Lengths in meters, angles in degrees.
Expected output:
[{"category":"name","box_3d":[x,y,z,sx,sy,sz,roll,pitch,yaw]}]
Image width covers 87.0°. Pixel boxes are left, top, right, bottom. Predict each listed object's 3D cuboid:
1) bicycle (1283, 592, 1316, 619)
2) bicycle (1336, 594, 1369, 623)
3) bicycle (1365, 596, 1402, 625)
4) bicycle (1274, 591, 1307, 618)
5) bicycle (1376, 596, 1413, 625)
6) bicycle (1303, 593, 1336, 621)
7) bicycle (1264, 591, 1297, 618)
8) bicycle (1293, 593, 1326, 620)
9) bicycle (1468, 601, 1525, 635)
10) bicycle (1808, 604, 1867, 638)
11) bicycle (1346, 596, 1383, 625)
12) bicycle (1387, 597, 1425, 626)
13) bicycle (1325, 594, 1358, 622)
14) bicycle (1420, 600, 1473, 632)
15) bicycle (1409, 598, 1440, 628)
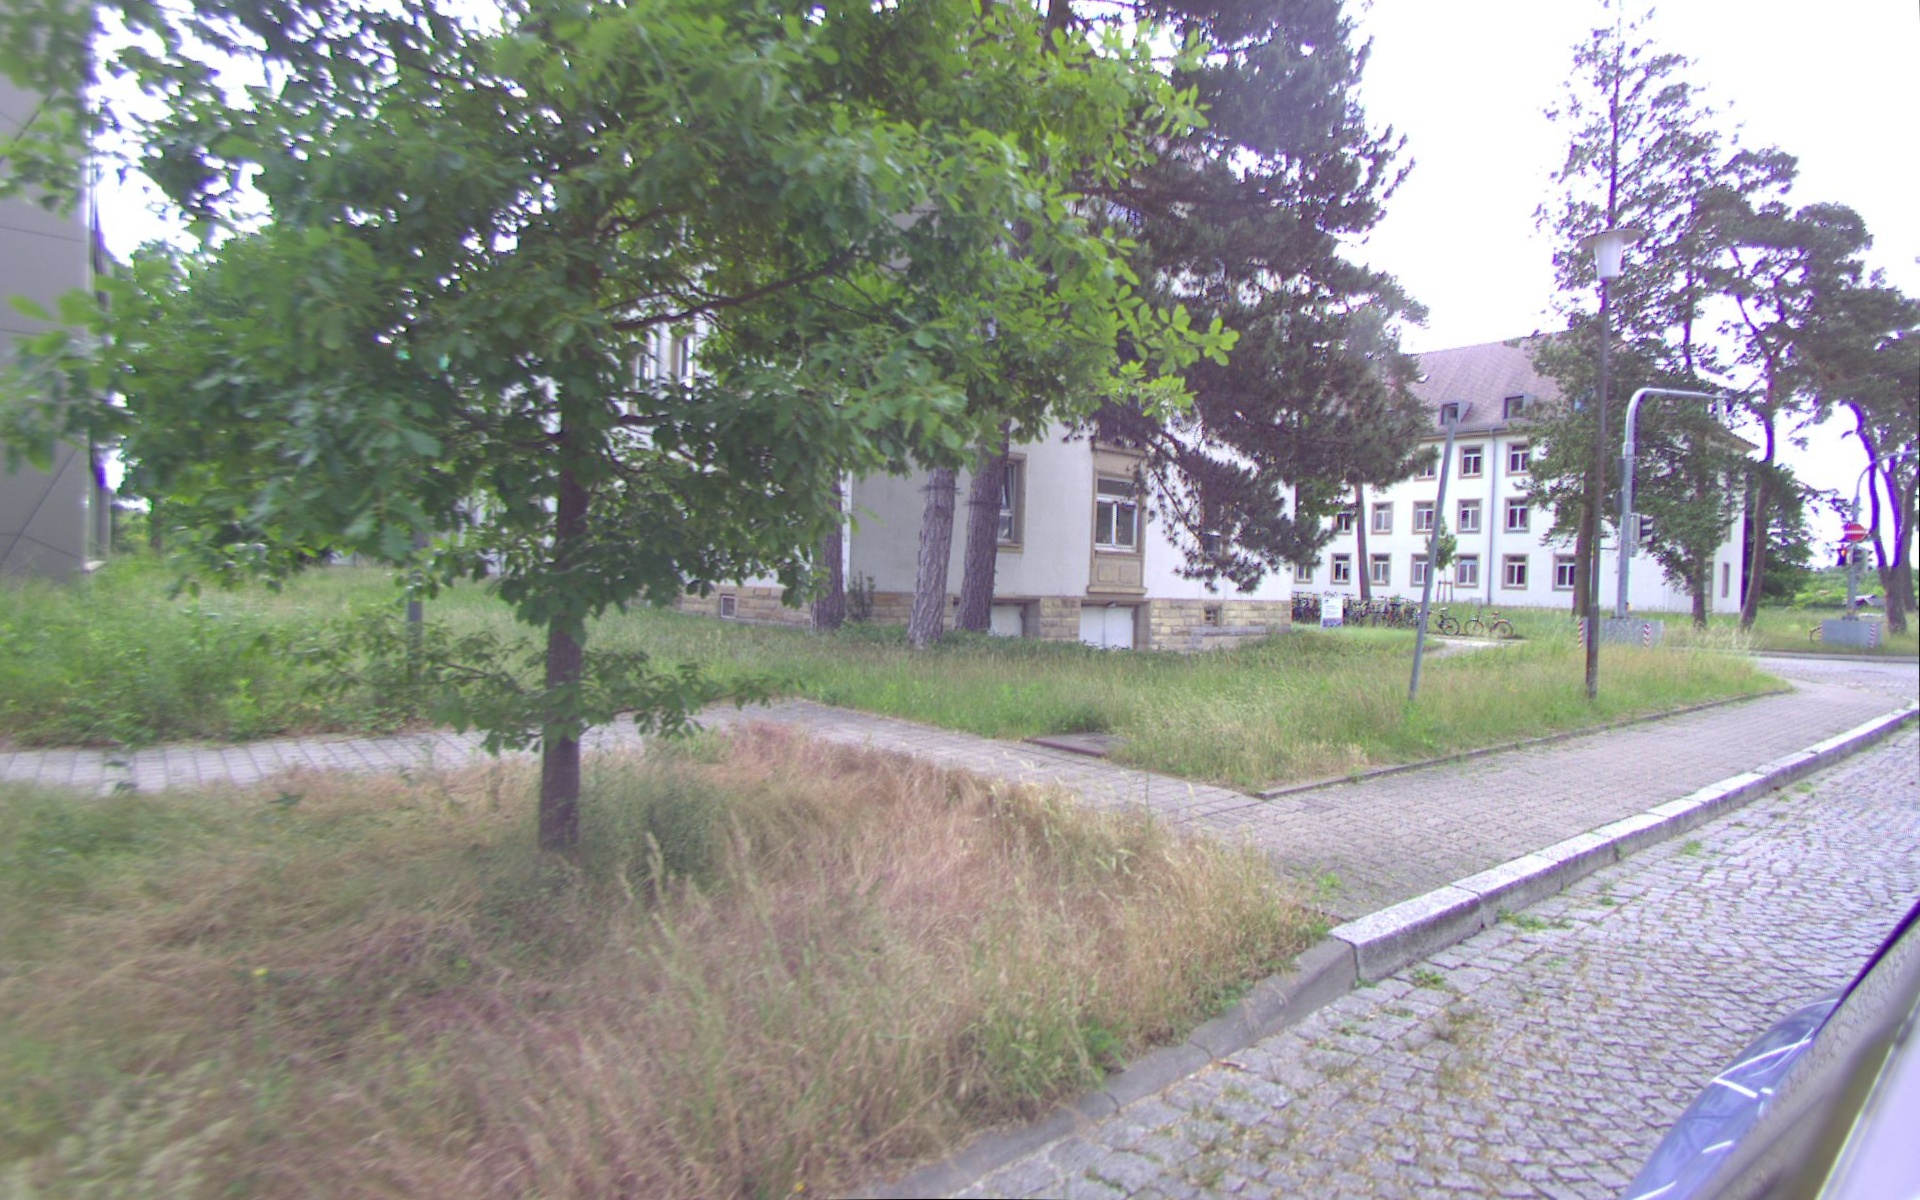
[{"category":"bicycle","box_3d":[14.748,0.228,43.900,1.699,1.142,0.448,1,1,-38]},{"category":"bicycle","box_3d":[16.248,0.352,41.897,1.699,1.142,0.448,1,1,-37]},{"category":"bicycle","box_3d":[17.108,0.429,40.869,1.697,1.142,0.448,1,1,-32]},{"category":"bicycle","box_3d":[14.449,0.199,44.253,1.699,1.142,0.448,1,1,-38]},{"category":"bicycle","box_3d":[17.364,0.432,40.460,1.668,1.142,0.448,1,1,-32]},{"category":"bicycle","box_3d":[15.312,0.298,43.111,1.699,1.142,0.448,1,1,-38]},{"category":"bicycle","box_3d":[14.136,0.198,44.645,1.699,1.142,0.448,1,1,-38]},{"category":"bicycle","box_3d":[15.030,0.270,43.510,1.699,1.142,0.448,1,1,-38]},{"category":"bicycle","box_3d":[19.212,0.633,36.266,0.604,1.099,1.653,1,1,-43]},{"category":"bicycle","box_3d":[30.392,0.733,35.050,1.623,1.099,0.616,2,1,-8]},{"category":"bicycle","box_3d":[16.565,0.427,41.447,1.697,1.142,0.448,1,1,-32]},{"category":"bicycle","box_3d":[17.662,0.460,40.066,1.669,1.142,0.477,1,1,-32]},{"category":"bicycle","box_3d":[15.939,0.324,42.303,1.699,1.142,0.448,1,1,-38]},{"category":"bicycle","box_3d":[18.020,0.568,37.480,0.603,1.099,1.656,1,1,-38]},{"category":"bicycle","box_3d":[18.233,0.497,39.737,1.628,1.142,0.476,1,1,-42]}]
